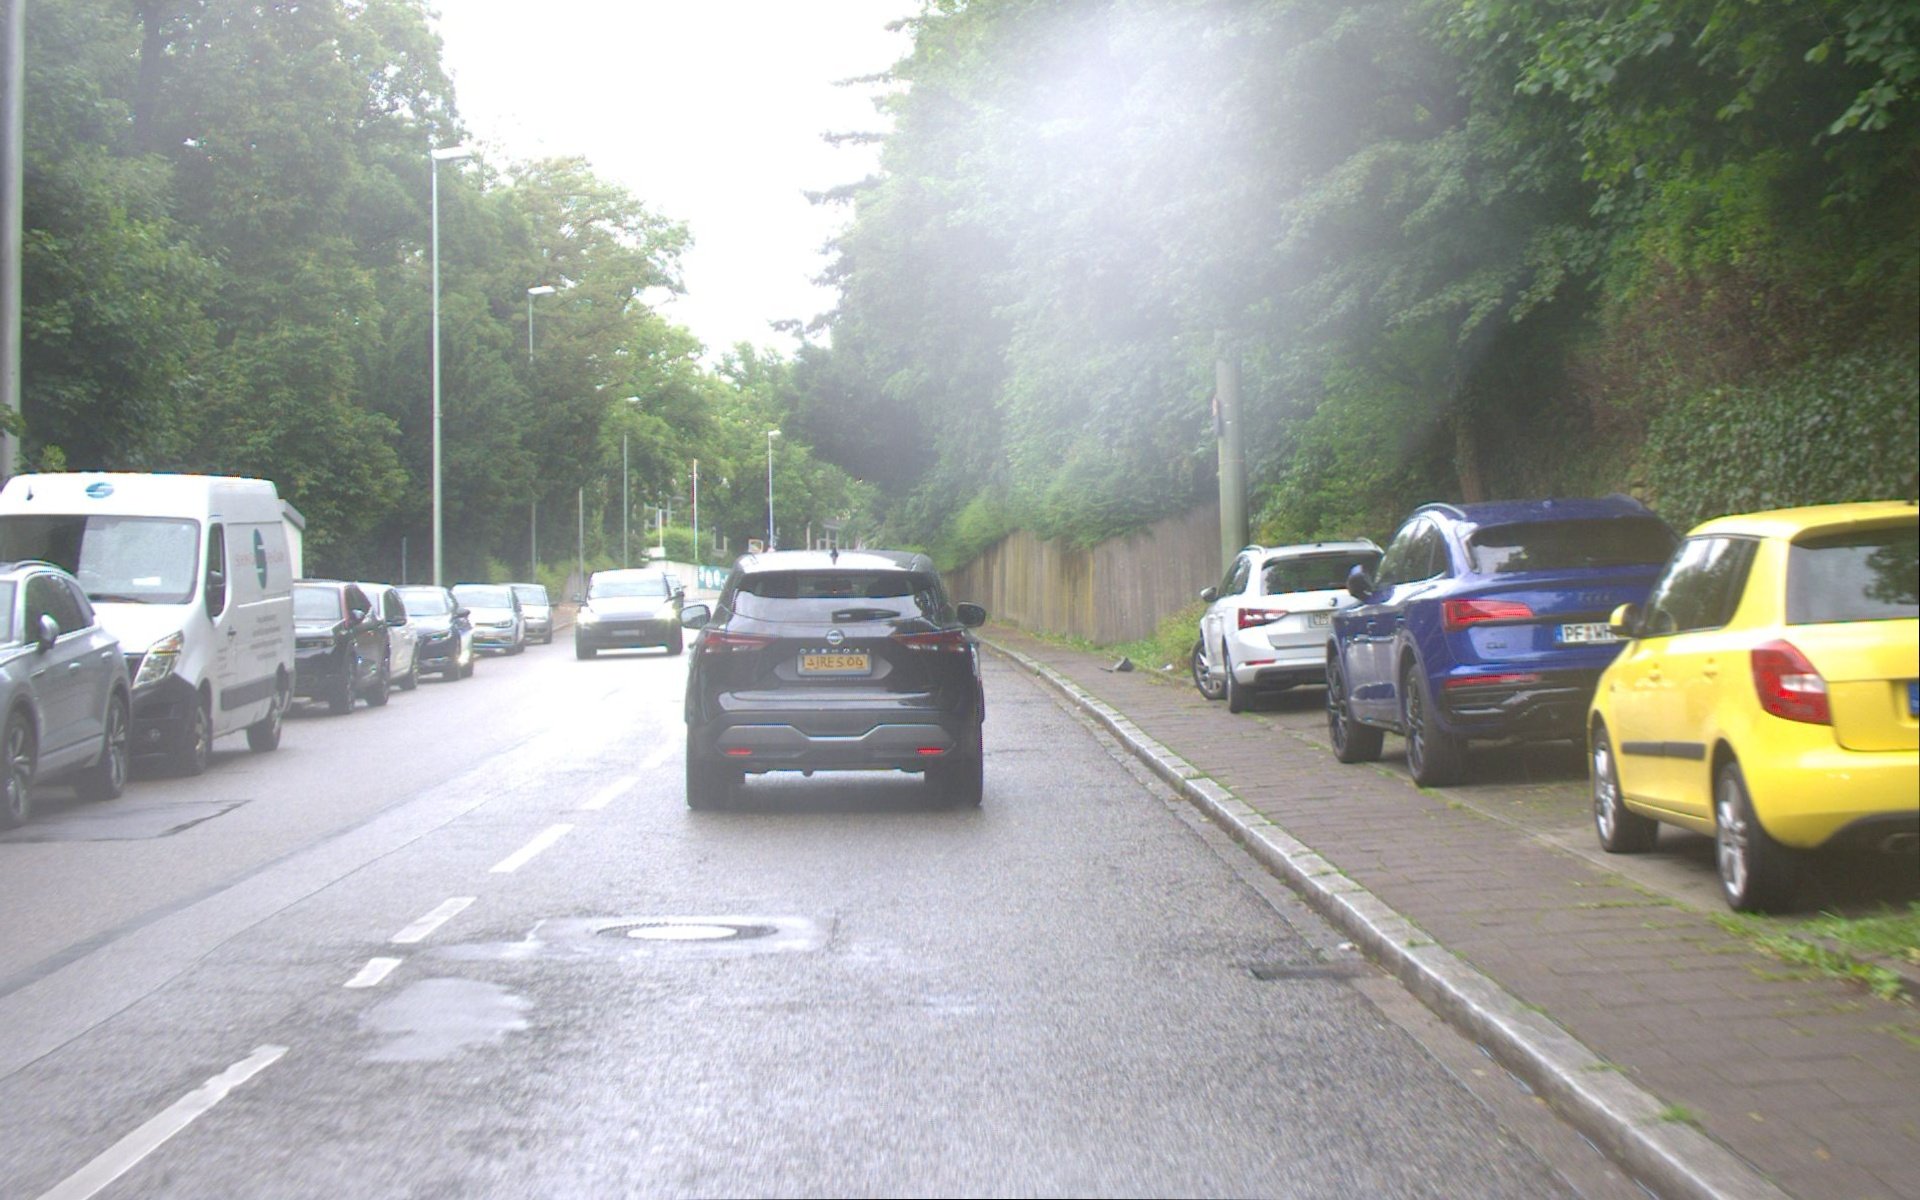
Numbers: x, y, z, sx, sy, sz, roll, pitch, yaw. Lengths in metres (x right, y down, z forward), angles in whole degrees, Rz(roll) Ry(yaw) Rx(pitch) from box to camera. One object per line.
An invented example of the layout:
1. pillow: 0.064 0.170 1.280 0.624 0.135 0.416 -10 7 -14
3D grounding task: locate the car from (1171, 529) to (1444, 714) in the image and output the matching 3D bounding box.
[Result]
1. car: 3.168 0.171 32.182 1.810 1.525 4.417 -3 1 -3

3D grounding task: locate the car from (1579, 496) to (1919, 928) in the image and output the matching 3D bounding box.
1. car: 3.677 0.376 14.145 1.633 1.525 4.000 0 1 2

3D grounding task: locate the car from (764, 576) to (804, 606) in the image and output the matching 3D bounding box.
1. car: -9.371 -0.502 183.620 2.074 1.554 4.000 0 1 -2

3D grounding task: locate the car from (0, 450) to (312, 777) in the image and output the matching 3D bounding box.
1. car: -6.954 0.063 29.091 1.990 2.466 5.785 -1 1 -2

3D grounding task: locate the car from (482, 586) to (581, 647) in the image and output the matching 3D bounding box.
1. car: -10.525 0.382 84.733 1.990 1.379 4.458 -1 1 -2

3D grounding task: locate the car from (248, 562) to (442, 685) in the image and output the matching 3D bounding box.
1. car: -8.452 0.283 47.594 1.990 1.561 4.458 -1 1 -2

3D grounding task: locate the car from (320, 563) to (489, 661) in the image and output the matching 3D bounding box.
1. car: -8.463 0.150 52.720 1.990 1.379 4.458 -1 1 -2

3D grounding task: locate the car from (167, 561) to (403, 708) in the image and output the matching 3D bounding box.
1. car: -7.825 0.357 40.246 1.990 1.561 4.458 -1 1 -2

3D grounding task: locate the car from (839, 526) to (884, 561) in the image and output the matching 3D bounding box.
1. car: -4.983 -2.854 174.095 1.993 1.554 3.999 -2 -1 1

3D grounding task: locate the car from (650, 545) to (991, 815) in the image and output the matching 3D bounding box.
1. car: -0.850 0.439 22.216 1.993 1.554 4.000 0 1 -1

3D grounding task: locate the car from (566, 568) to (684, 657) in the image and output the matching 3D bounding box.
1. car: -6.238 0.208 64.340 1.993 1.554 4.001 0 1 -3

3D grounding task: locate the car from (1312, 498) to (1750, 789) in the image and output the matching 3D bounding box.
1. car: 3.403 0.222 21.317 1.811 1.525 4.417 -3 1 -1

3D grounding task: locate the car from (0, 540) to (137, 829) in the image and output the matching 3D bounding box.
1. car: -6.883 0.508 22.566 1.990 1.749 4.480 -1 1 -2

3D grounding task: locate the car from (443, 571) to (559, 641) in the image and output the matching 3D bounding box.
1. car: -9.751 0.097 73.291 1.990 1.379 4.458 -1 1 -2
